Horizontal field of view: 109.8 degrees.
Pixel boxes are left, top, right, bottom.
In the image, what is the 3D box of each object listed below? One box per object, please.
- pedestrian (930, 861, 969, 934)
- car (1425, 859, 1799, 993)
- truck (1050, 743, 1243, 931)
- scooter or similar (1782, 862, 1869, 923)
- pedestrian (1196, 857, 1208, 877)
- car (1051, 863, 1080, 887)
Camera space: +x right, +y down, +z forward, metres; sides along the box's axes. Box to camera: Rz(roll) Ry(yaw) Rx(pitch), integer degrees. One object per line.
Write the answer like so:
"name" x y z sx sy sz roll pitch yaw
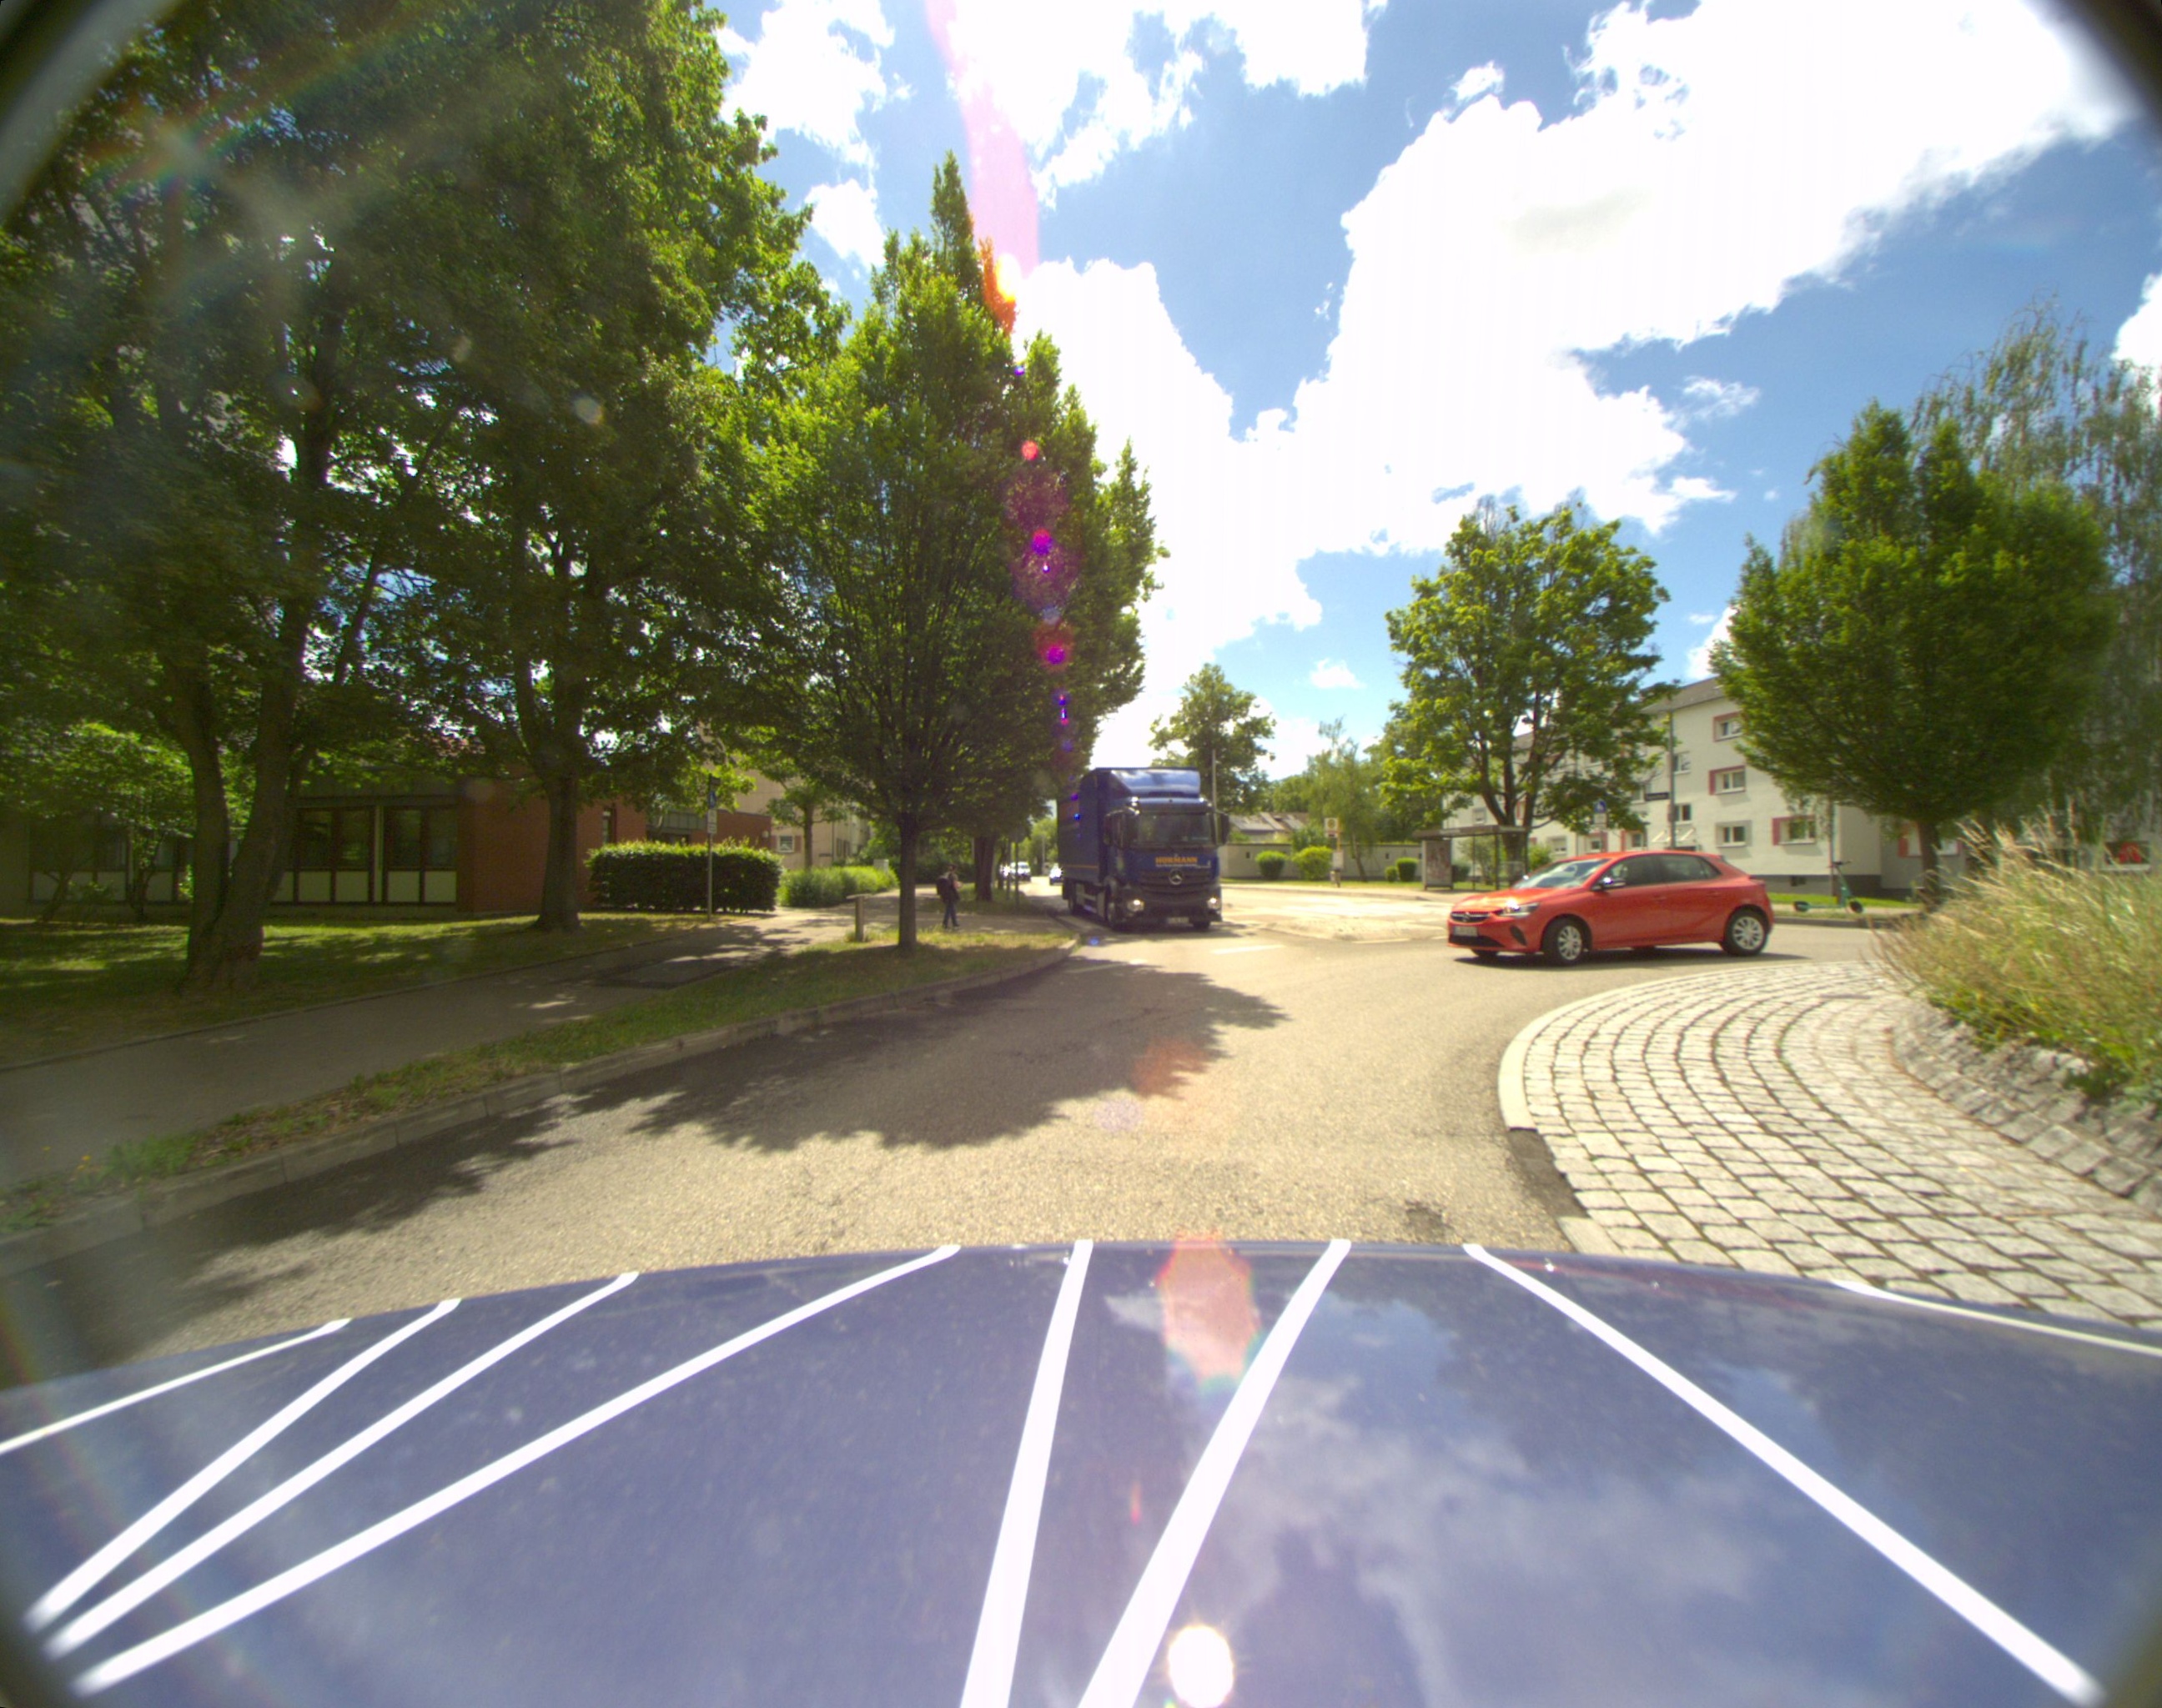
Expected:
"pedestrian" -2.971 0.962 17.191 0.720 1.570 0.840 0 2 -1
"car" 7.128 0.950 10.435 3.999 1.548 1.767 3 -2 -6
"truck" 1.287 -0.227 21.670 2.790 4.127 9.790 0 -2 -12
"scooter or similar" 17.204 0.874 17.577 0.487 1.335 1.384 0 1 -43
"pedestrian" 9.846 1.051 61.744 0.903 1.572 0.660 0 0 -2
"car" -1.154 1.560 55.597 1.999 1.665 4.001 1 -3 -3
